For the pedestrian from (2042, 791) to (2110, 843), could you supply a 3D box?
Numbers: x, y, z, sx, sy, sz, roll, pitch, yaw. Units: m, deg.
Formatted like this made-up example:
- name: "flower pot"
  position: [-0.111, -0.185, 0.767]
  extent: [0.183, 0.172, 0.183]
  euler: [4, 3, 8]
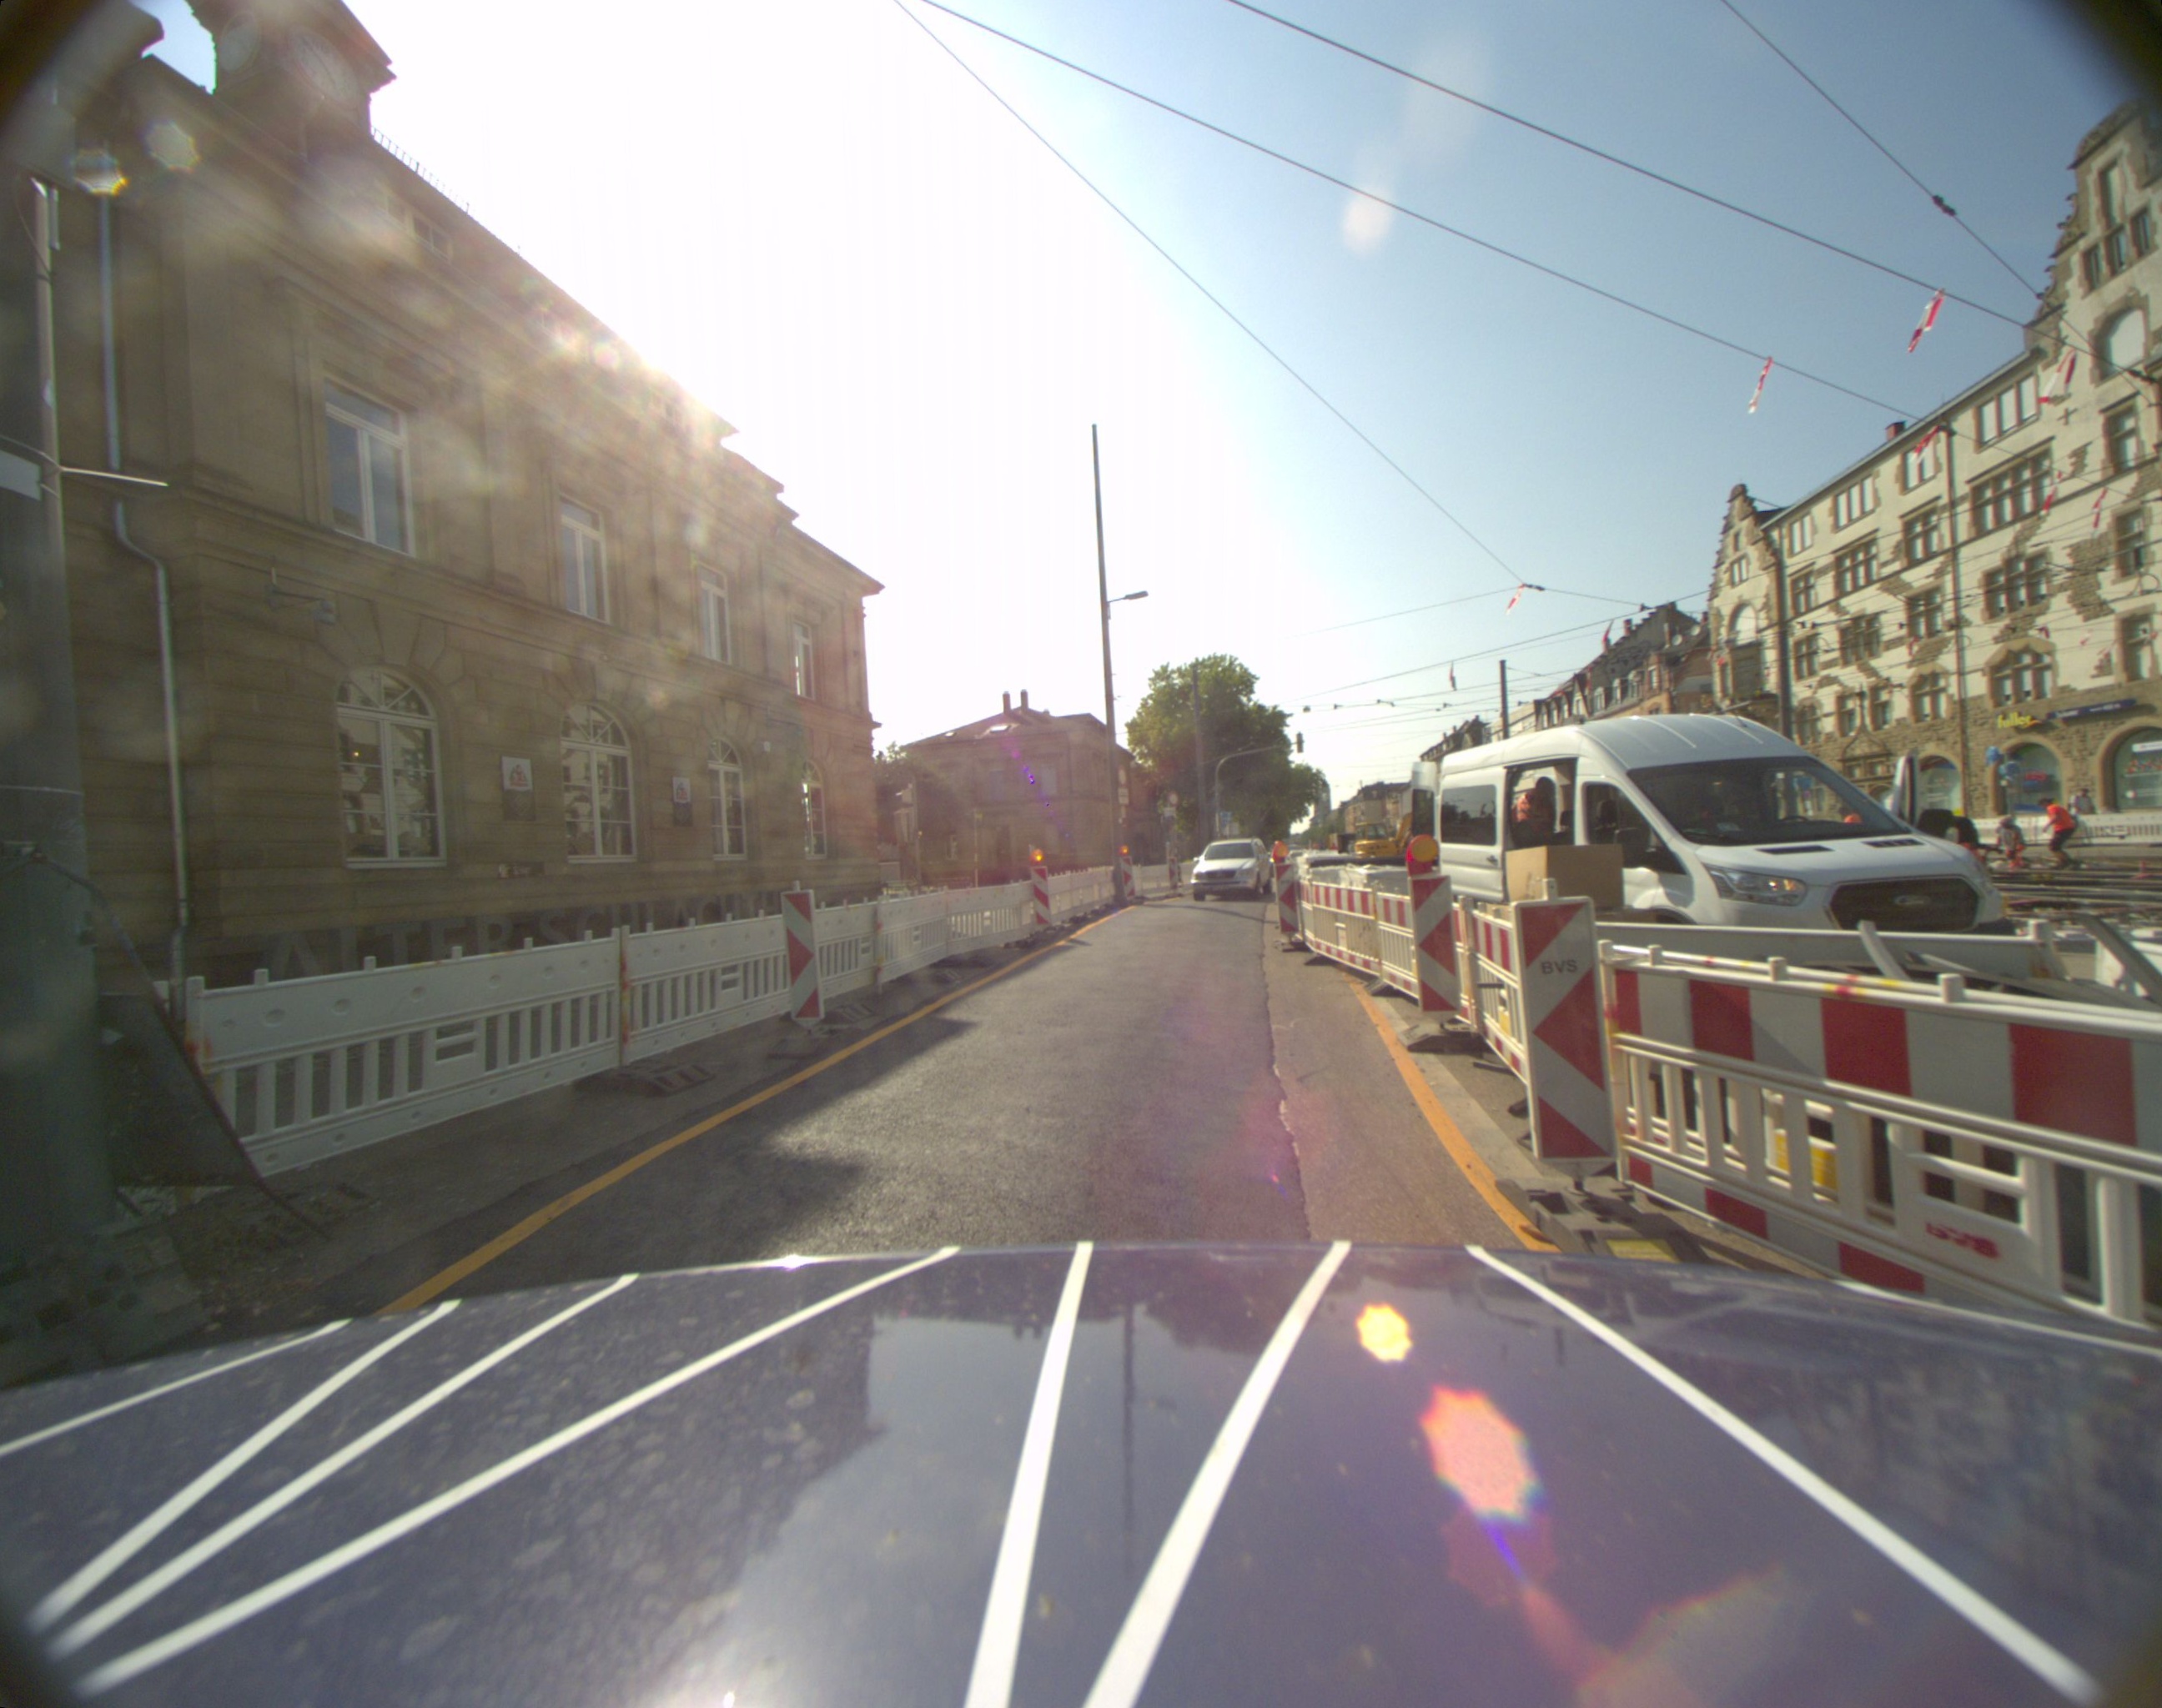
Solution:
- name: "pedestrian"
  position: [35.147, -1.294, 26.861]
  extent: [0.916, 1.731, 1.147]
  euler: [-3, 1, 14]

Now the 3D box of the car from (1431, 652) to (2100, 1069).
- name: "car"
  position: [5.828, 0.031, 7.744]
  extent: [2.230, 2.713, 5.171]
  euler: [-3, 1, 3]

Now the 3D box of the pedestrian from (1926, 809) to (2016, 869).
- name: "pedestrian"
  position: [22.657, -0.386, 19.371]
  extent: [1.144, 1.433, 0.918]
  euler: [-3, 1, 15]

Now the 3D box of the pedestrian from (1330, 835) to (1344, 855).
- name: "pedestrian"
  position: [23.375, -0.827, 69.510]
  extent: [1.033, 1.700, 1.096]
  euler: [-3, 1, 13]

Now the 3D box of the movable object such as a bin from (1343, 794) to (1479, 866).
- name: "movable object such as a bin"
  position: [17.415, -1.240, 40.265]
  extent: [6.161, 3.326, 2.115]
  euler: [-4, 1, -5]

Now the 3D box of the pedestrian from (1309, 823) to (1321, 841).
- name: "pedestrian"
  position: [27.603, -2.624, 89.561]
  extent: [0.909, 2.002, 0.913]
  euler: [-4, 2, 41]

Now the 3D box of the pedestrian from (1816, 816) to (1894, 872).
- name: "pedestrian"
  position: [21.252, -0.270, 20.890]
  extent: [1.144, 1.433, 0.918]
  euler: [-3, 1, 15]

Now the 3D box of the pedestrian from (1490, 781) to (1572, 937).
- name: "pedestrian"
  position: [6.072, 0.070, 10.302]
  extent: [0.735, 2.002, 0.908]
  euler: [-2, 1, 20]

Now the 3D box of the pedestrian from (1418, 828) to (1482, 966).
- name: "pedestrian"
  position: [5.599, 0.627, 11.573]
  extent: [0.735, 2.002, 0.908]
  euler: [-2, 1, 21]

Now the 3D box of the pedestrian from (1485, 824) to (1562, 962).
- name: "pedestrian"
  position: [6.771, 0.566, 11.618]
  extent: [0.909, 2.002, 0.734]
  euler: [-4, 2, -44]

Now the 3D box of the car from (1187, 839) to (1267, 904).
- name: "car"
  position: [4.580, 0.431, 23.232]
  extent: [1.996, 1.686, 5.230]
  euler: [-3, 1, 14]

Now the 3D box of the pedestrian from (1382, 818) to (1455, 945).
- name: "pedestrian"
  position: [5.603, 0.436, 12.619]
  extent: [0.909, 2.002, 0.734]
  euler: [-4, 2, -42]
